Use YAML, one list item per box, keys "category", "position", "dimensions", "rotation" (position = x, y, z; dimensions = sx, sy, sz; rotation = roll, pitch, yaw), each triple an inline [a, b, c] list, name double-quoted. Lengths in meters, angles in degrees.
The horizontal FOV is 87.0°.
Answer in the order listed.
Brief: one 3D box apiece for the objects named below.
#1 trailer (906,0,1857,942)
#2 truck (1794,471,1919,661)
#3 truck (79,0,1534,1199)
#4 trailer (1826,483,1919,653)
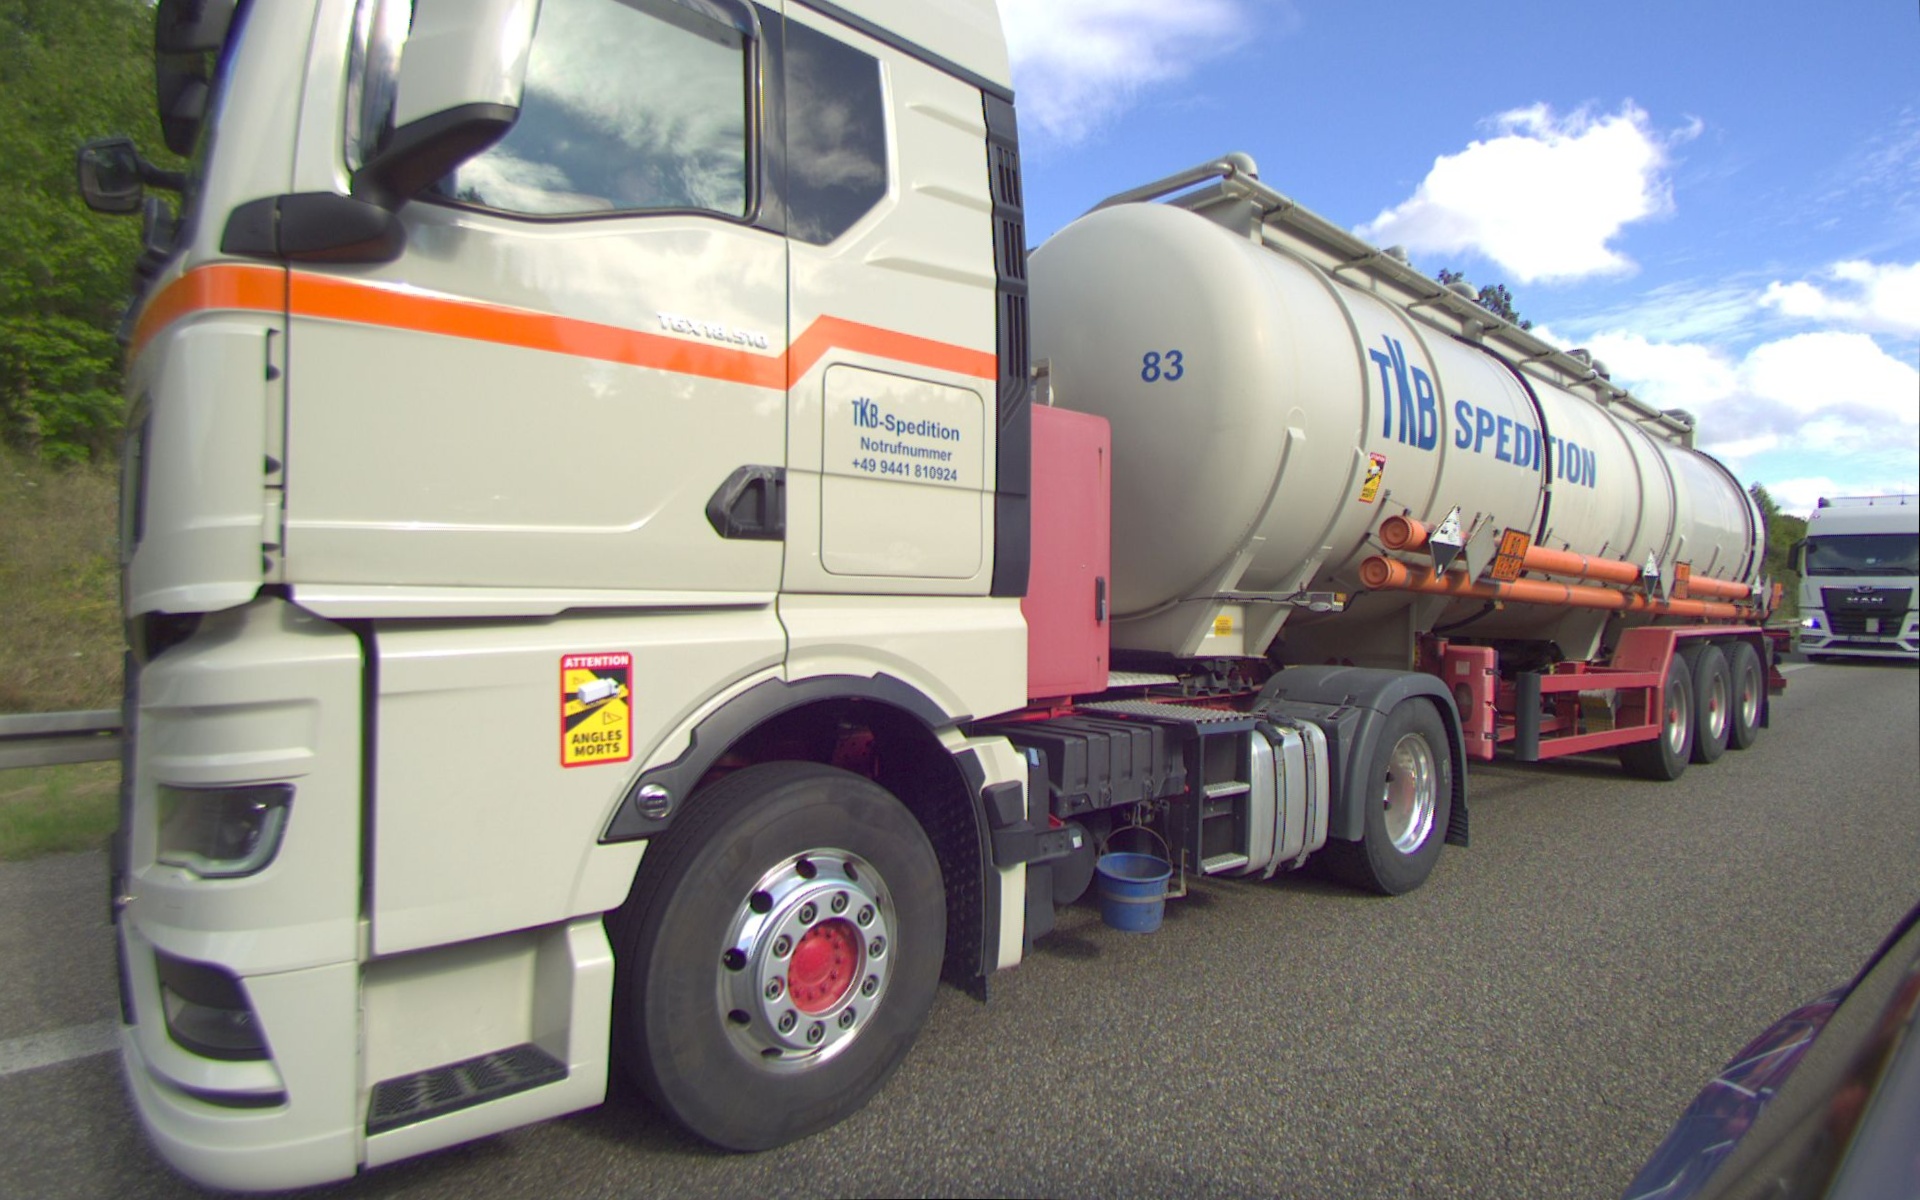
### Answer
- category: "trailer"
  position: [4.761, -0.725, 8.654]
  dimensions: [10.984, 4.077, 2.804]
  rotation: [0, 1, -40]
- category: "truck"
  position: [22.508, -0.762, 24.317]
  dimensions: [5.606, 4.122, 2.840]
  rotation: [0, 1, -40]
- category: "truck"
  position: [-0.078, -0.701, 4.575]
  dimensions: [5.799, 4.094, 2.808]
  rotation: [0, 1, -40]
- category: "trailer"
  position: [28.038, -0.818, 28.989]
  dimensions: [13.135, 4.122, 2.831]
  rotation: [0, 1, -40]
